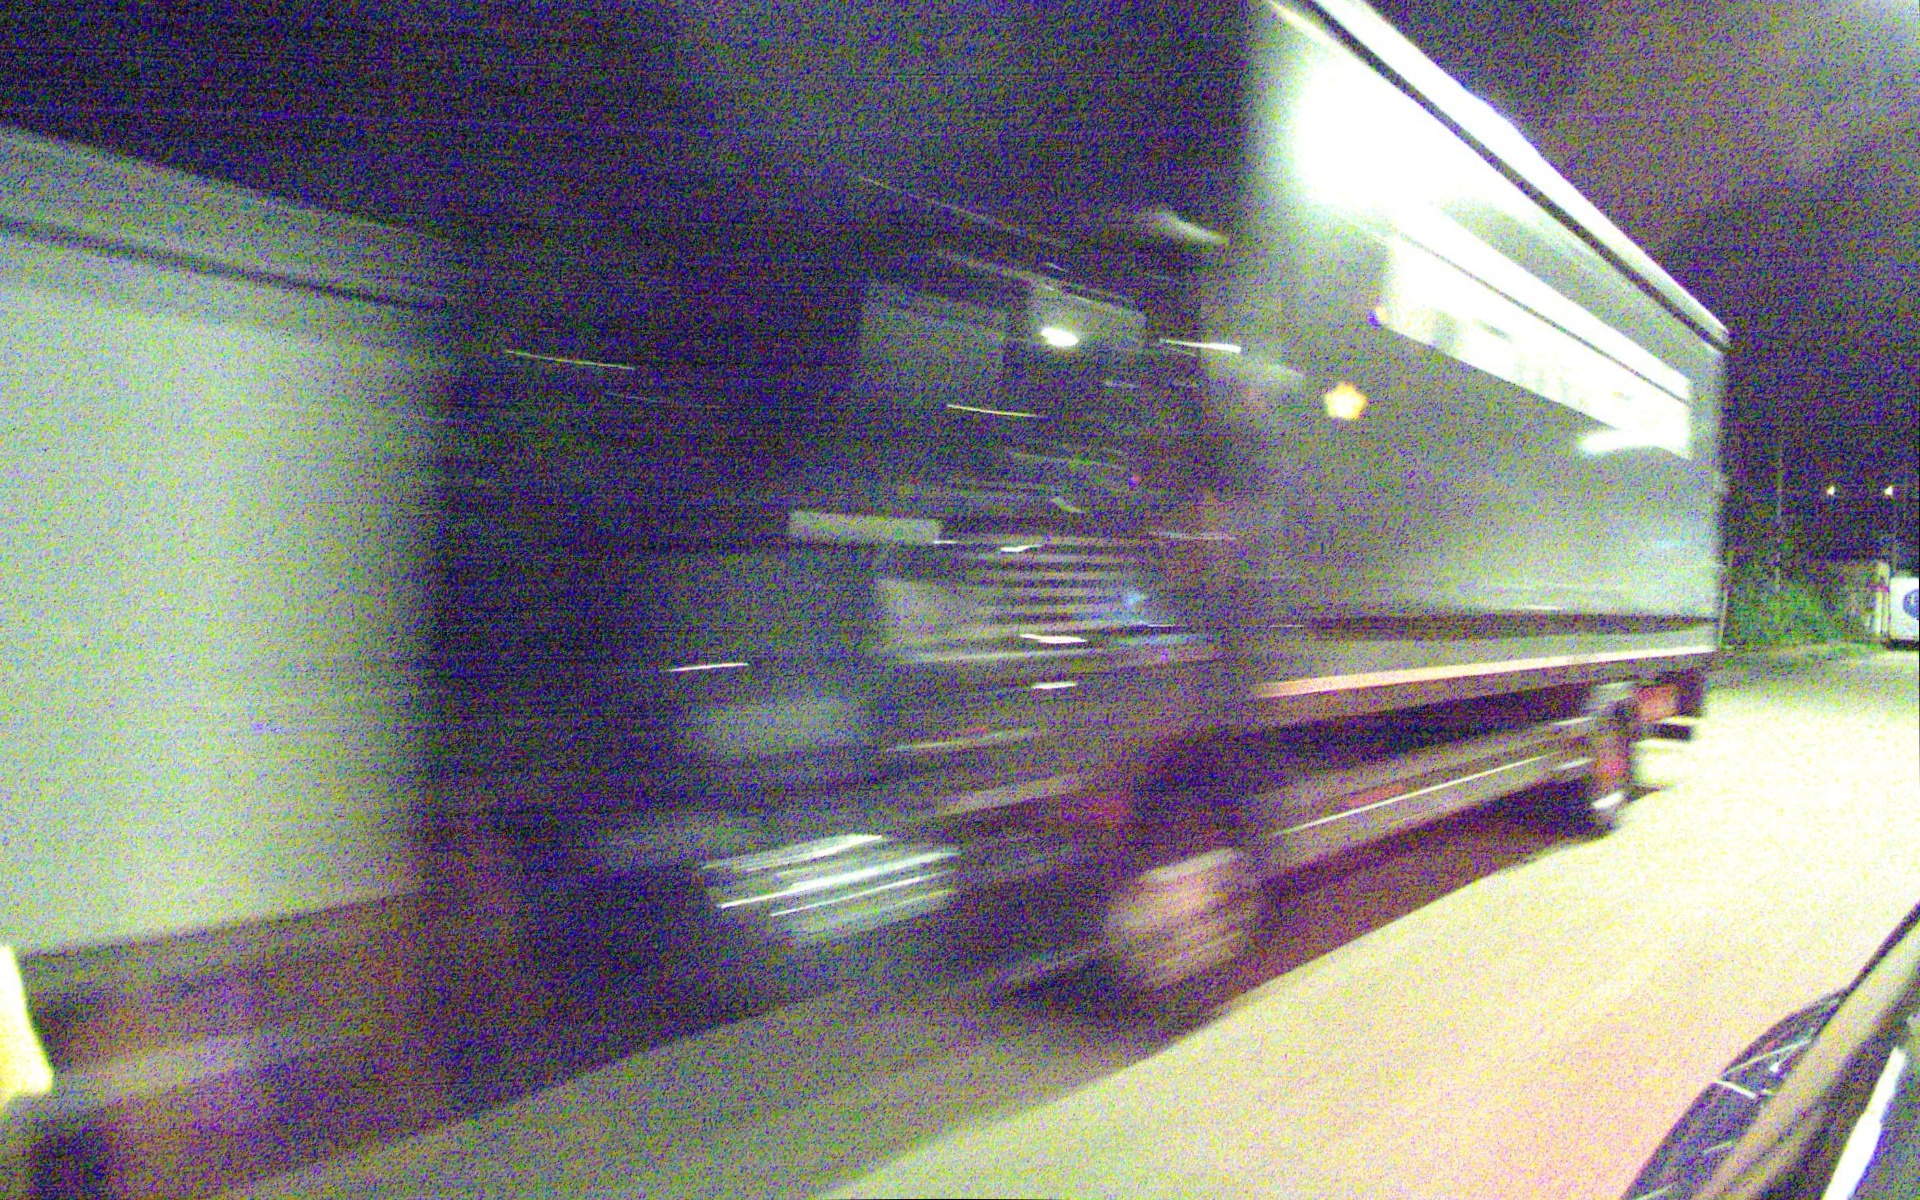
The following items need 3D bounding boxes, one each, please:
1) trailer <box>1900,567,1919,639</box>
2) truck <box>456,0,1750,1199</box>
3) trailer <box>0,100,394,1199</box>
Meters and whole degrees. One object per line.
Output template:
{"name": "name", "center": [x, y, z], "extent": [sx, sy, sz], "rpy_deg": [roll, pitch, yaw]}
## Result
{"name": "trailer", "center": [37.730, 0.144, 38.751], "extent": [3.928, 2.684, 1.998], "rpy_deg": [1, 0, -39]}
{"name": "truck", "center": [2.106, -0.577, 6.639], "extent": [9.168, 3.917, 3.329], "rpy_deg": [0, 1, -42]}
{"name": "trailer", "center": [-3.802, 0.217, 1.481], "extent": [4.940, 2.505, 1.634], "rpy_deg": [1, 0, -42]}
